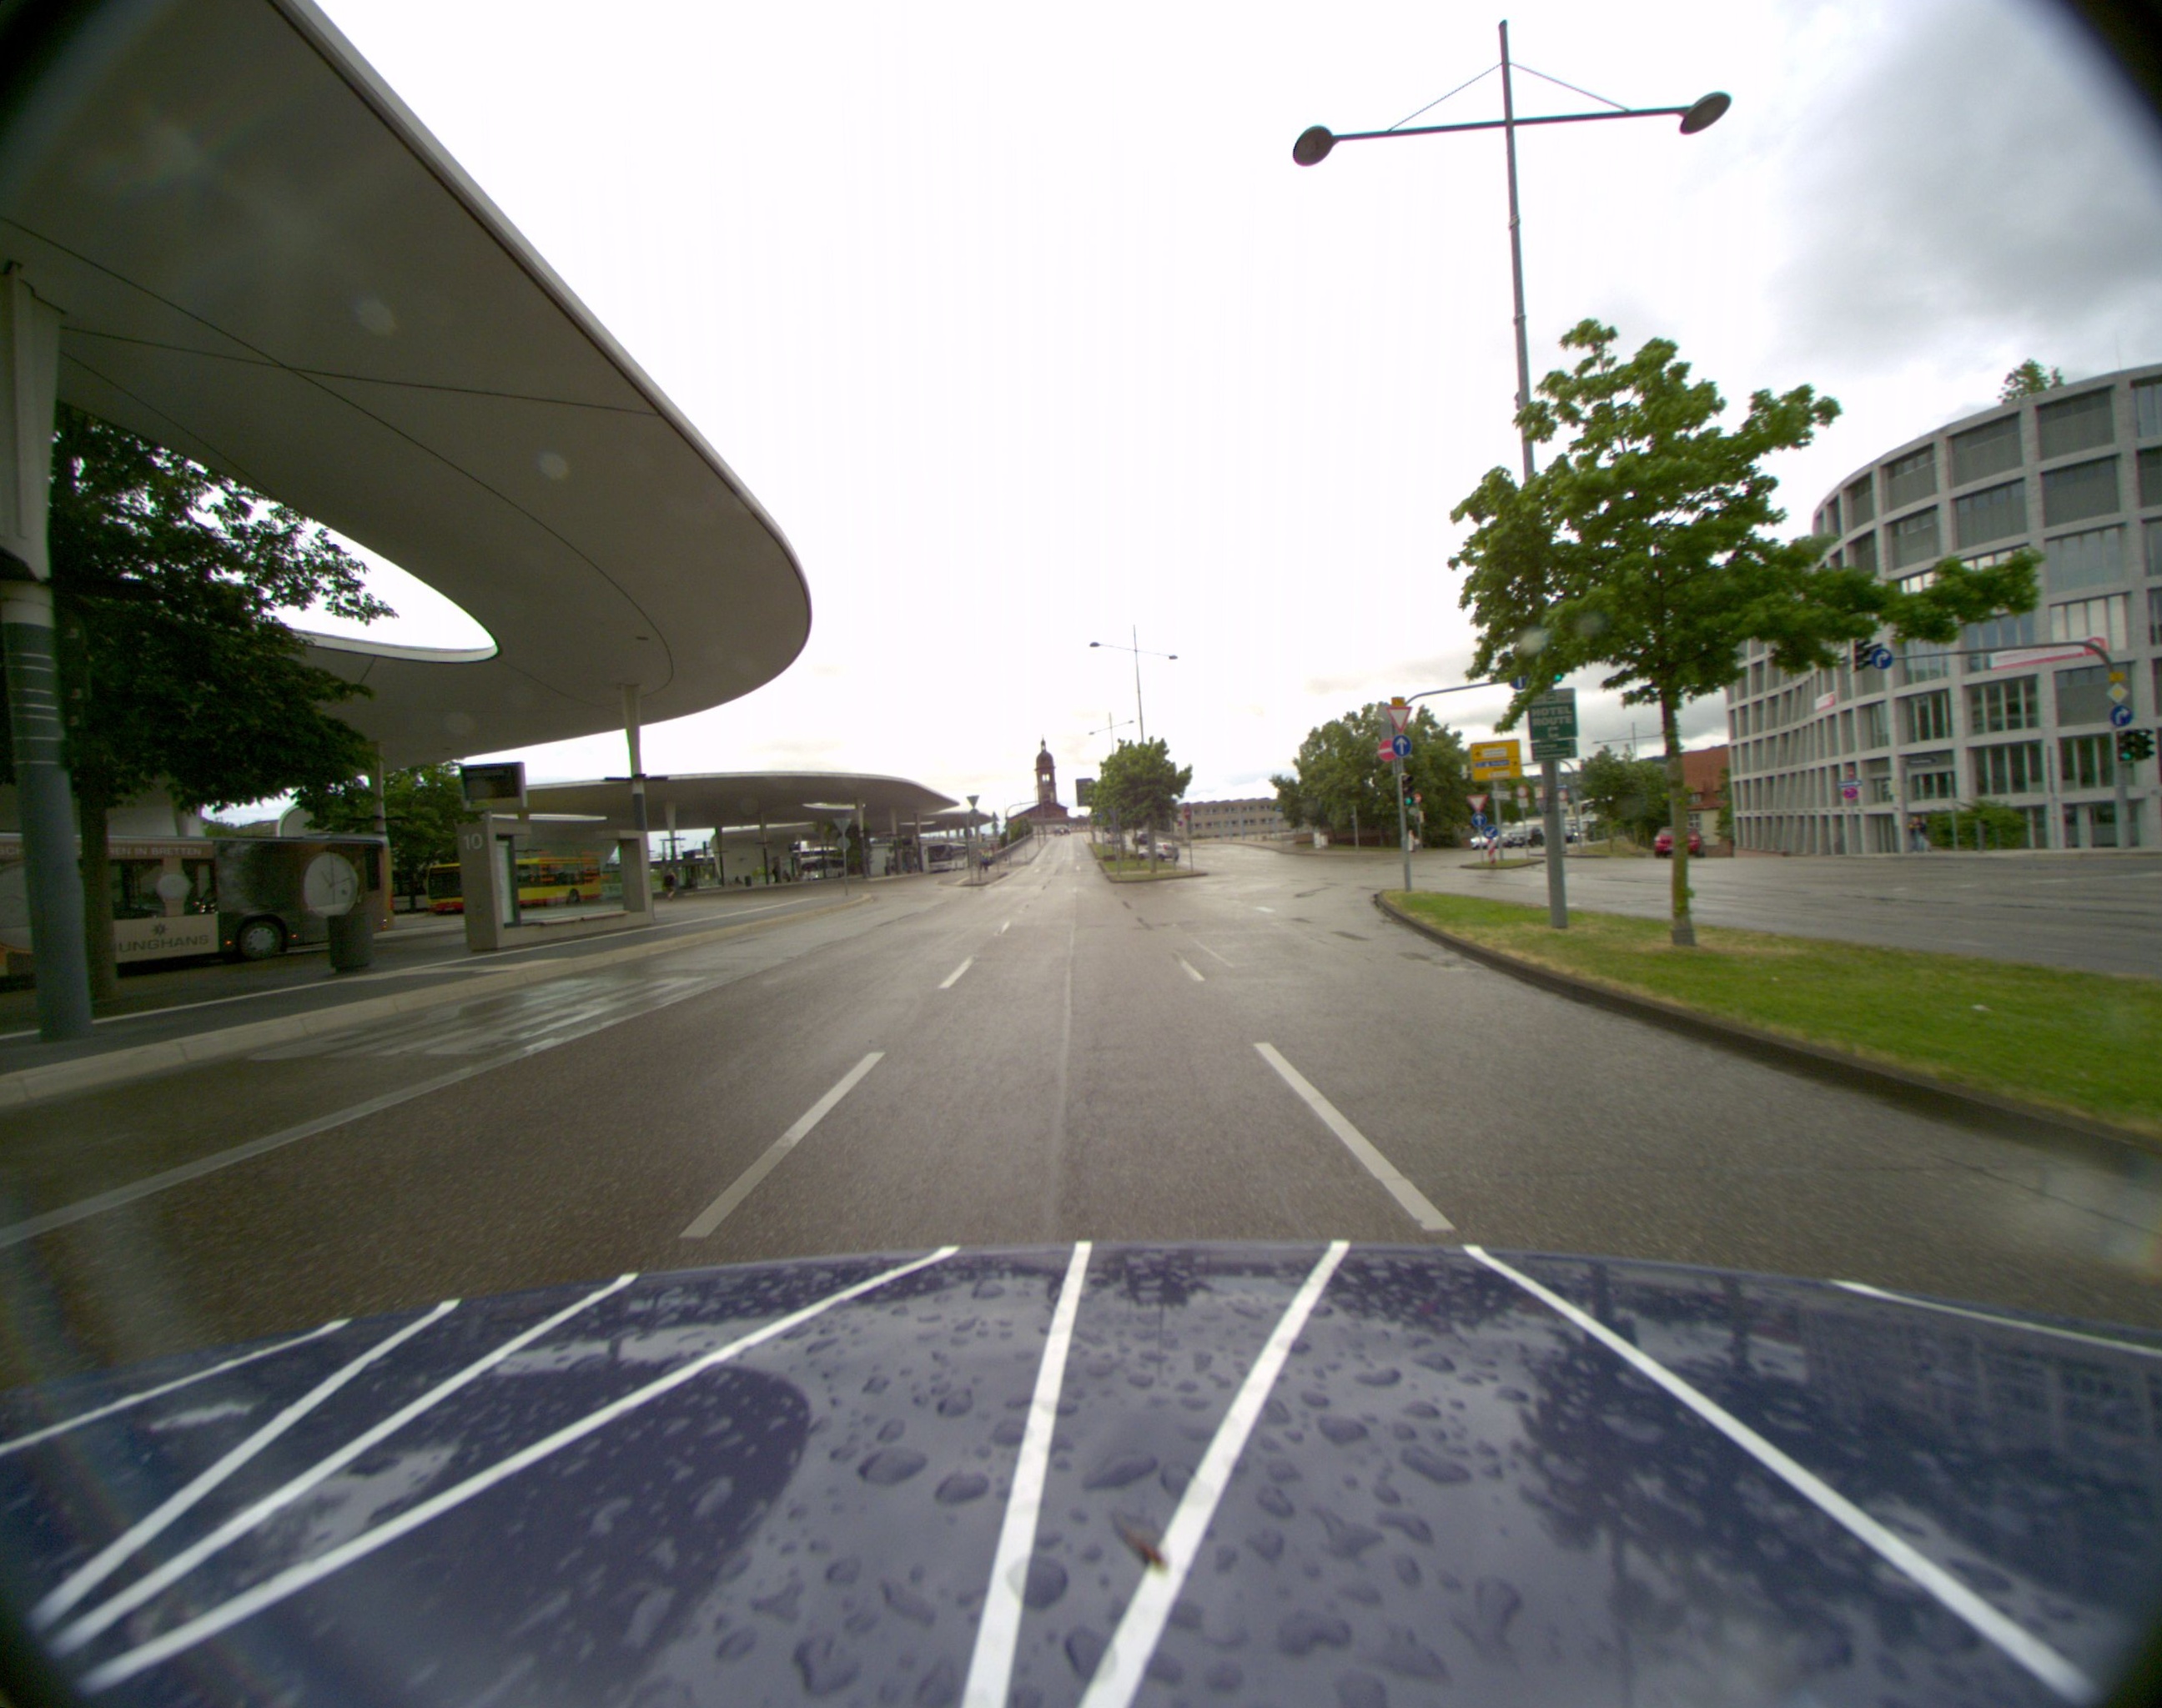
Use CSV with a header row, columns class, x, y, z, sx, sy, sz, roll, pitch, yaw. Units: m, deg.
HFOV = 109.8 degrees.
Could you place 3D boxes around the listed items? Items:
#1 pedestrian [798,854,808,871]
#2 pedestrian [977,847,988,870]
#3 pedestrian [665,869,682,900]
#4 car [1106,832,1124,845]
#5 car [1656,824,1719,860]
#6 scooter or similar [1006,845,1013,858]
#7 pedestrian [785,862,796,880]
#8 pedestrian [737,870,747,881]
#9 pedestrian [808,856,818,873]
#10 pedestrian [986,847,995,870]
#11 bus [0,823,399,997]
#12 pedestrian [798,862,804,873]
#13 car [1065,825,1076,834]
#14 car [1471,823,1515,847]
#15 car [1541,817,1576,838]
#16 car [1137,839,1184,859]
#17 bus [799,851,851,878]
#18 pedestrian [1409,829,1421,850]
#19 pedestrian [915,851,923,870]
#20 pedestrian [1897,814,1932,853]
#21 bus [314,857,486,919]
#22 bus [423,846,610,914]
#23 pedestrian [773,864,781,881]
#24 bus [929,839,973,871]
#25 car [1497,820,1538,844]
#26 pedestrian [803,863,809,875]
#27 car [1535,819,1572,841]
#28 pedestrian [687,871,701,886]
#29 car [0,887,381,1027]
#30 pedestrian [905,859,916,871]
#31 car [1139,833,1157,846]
class,x,y,z,sx,sy,sz,roll,pitch,yaw
pedestrian,-27.766,0.861,75.892,0.570,1.645,0.557,-3,1,6
pedestrian,-7.474,0.359,57.467,0.590,1.662,0.580,-6,6,0
pedestrian,-23.021,1.701,42.929,0.720,1.674,1.019,-2,1,-26
car,4.501,-2.040,100.585,1.852,1.643,4.417,-3,1,-4
car,29.078,-0.578,36.378,4.040,1.543,1.823,-4,1,-44
scooter or similar,-6.863,-0.268,73.104,0.465,1.214,1.859,-4,1,0
pedestrian,-27.554,1.642,72.095,0.590,1.581,0.677,-7,5,-4
pedestrian,-48.074,3.063,107.786,0.800,1.318,0.711,-6,4,5
pedestrian,-27.207,1.088,77.082,0.644,1.645,0.638,-4,2,-40
pedestrian,-6.833,0.320,57.444,0.524,1.662,0.580,-5,4,0
bus,-20.214,1.018,14.849,2.728,3.026,12.087,-3,1,0
pedestrian,-27.398,1.350,74.311,0.391,1.075,0.352,-2,2,41
car,-2.044,-4.816,149.374,1.852,1.643,4.417,-3,1,-3
car,31.626,-1.469,58.304,1.882,1.559,4.148,-2,2,44
car,39.894,-2.229,63.472,1.723,1.559,3.845,-2,2,43
car,6.372,-0.406,61.000,1.640,1.440,3.866,-3,2,-34
bus,-34.961,1.303,104.350,2.795,3.239,12.138,-4,1,0
pedestrian,24.834,-1.096,56.454,0.652,1.562,0.631,-1,4,9
pedestrian,-16.581,0.649,77.759,0.585,1.875,0.649,-1,-1,10
pedestrian,34.950,-0.841,31.869,0.673,1.574,0.705,-4,2,-2
bus,-44.802,2.069,50.624,2.521,3.380,9.854,-3,1,-1
bus,-34.821,1.377,47.885,2.796,3.239,12.134,-4,2,-2
pedestrian,-27.981,1.695,70.006,0.522,1.494,0.381,-5,2,-40
bus,-14.658,0.087,86.777,2.852,3.342,12.423,-1,0,0
car,31.827,-1.601,55.323,1.723,1.559,3.845,-2,2,43
pedestrian,-26.961,1.482,74.561,0.395,1.138,0.364,-2,2,41
car,37.086,-1.870,59.656,1.723,1.559,3.845,-2,2,43
pedestrian,-37.108,2.368,72.889,0.710,1.318,0.801,-6,4,8
car,-12.237,1.303,10.729,1.651,1.444,3.237,-3,0,-2
pedestrian,-17.328,1.096,77.036,0.954,1.247,0.648,-1,-1,-24
car,8.329,-1.836,95.132,1.851,1.495,4.919,-3,1,1
